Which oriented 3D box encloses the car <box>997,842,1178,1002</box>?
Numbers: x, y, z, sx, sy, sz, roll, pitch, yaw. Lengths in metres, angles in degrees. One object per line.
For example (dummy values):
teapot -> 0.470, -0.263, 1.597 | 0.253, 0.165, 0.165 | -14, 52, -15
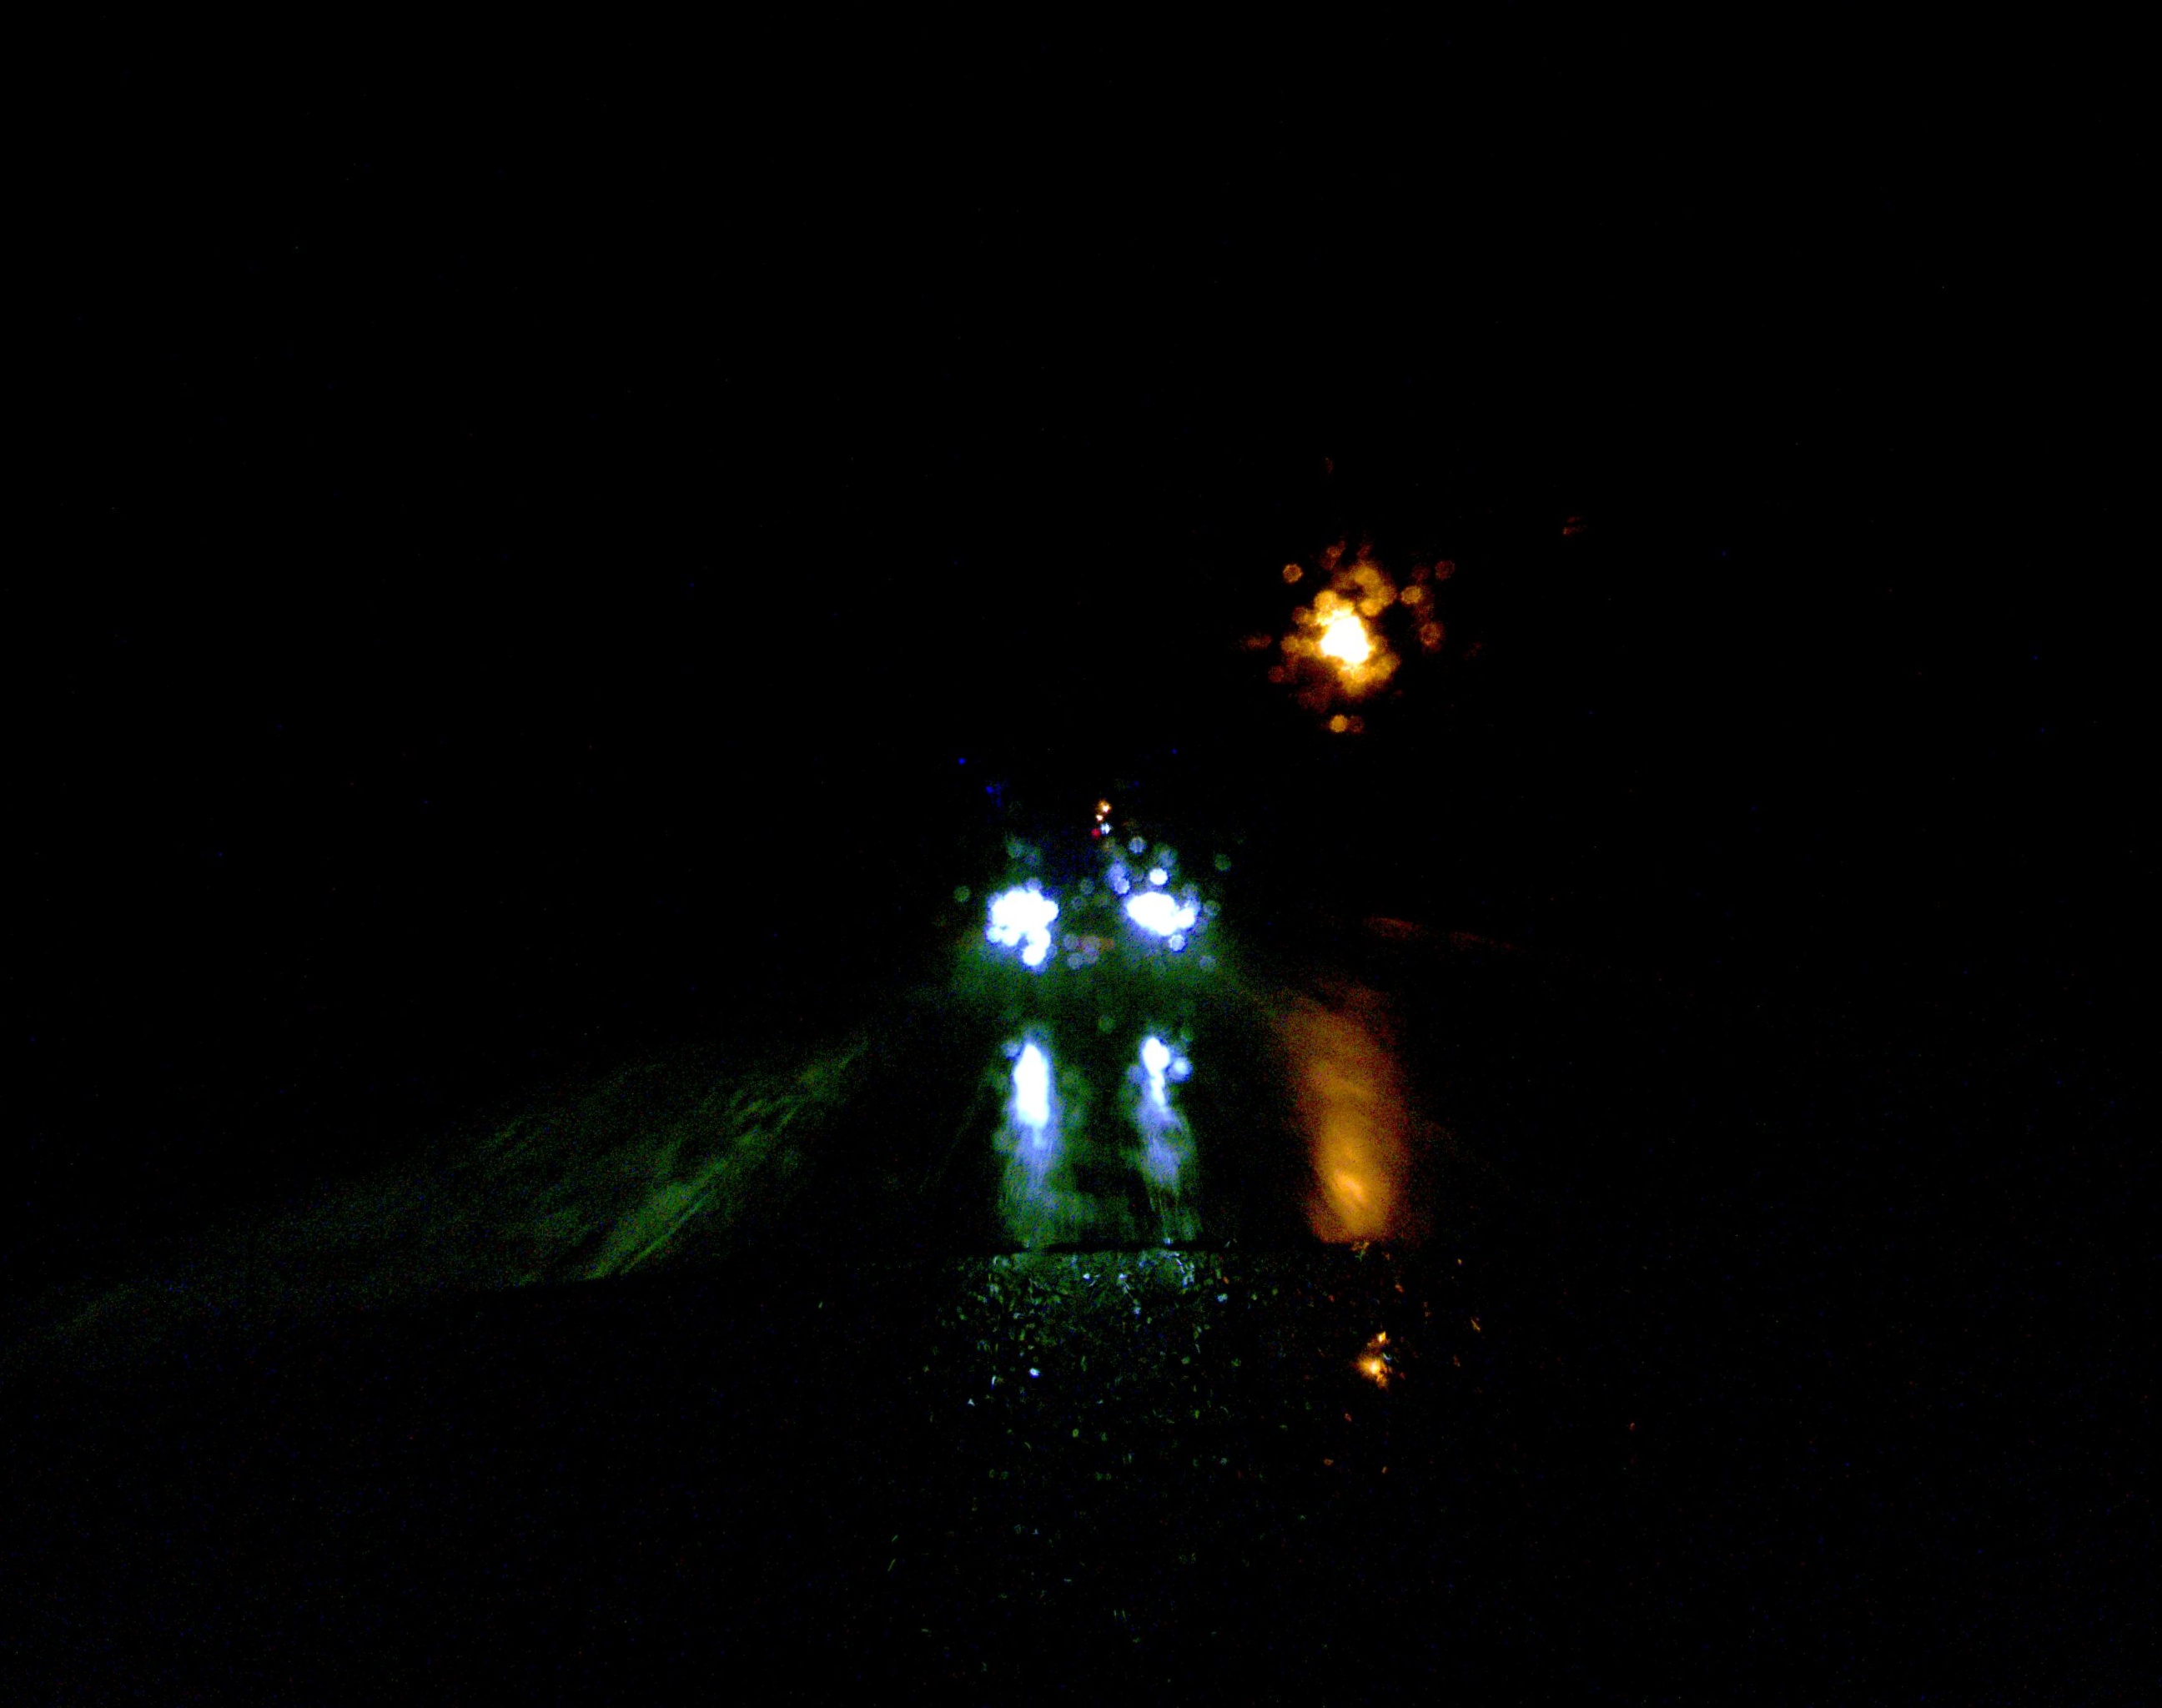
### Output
car -> 0.121, 0.710, 10.319 | 1.893, 1.678, 4.339 | -1, 1, 1
